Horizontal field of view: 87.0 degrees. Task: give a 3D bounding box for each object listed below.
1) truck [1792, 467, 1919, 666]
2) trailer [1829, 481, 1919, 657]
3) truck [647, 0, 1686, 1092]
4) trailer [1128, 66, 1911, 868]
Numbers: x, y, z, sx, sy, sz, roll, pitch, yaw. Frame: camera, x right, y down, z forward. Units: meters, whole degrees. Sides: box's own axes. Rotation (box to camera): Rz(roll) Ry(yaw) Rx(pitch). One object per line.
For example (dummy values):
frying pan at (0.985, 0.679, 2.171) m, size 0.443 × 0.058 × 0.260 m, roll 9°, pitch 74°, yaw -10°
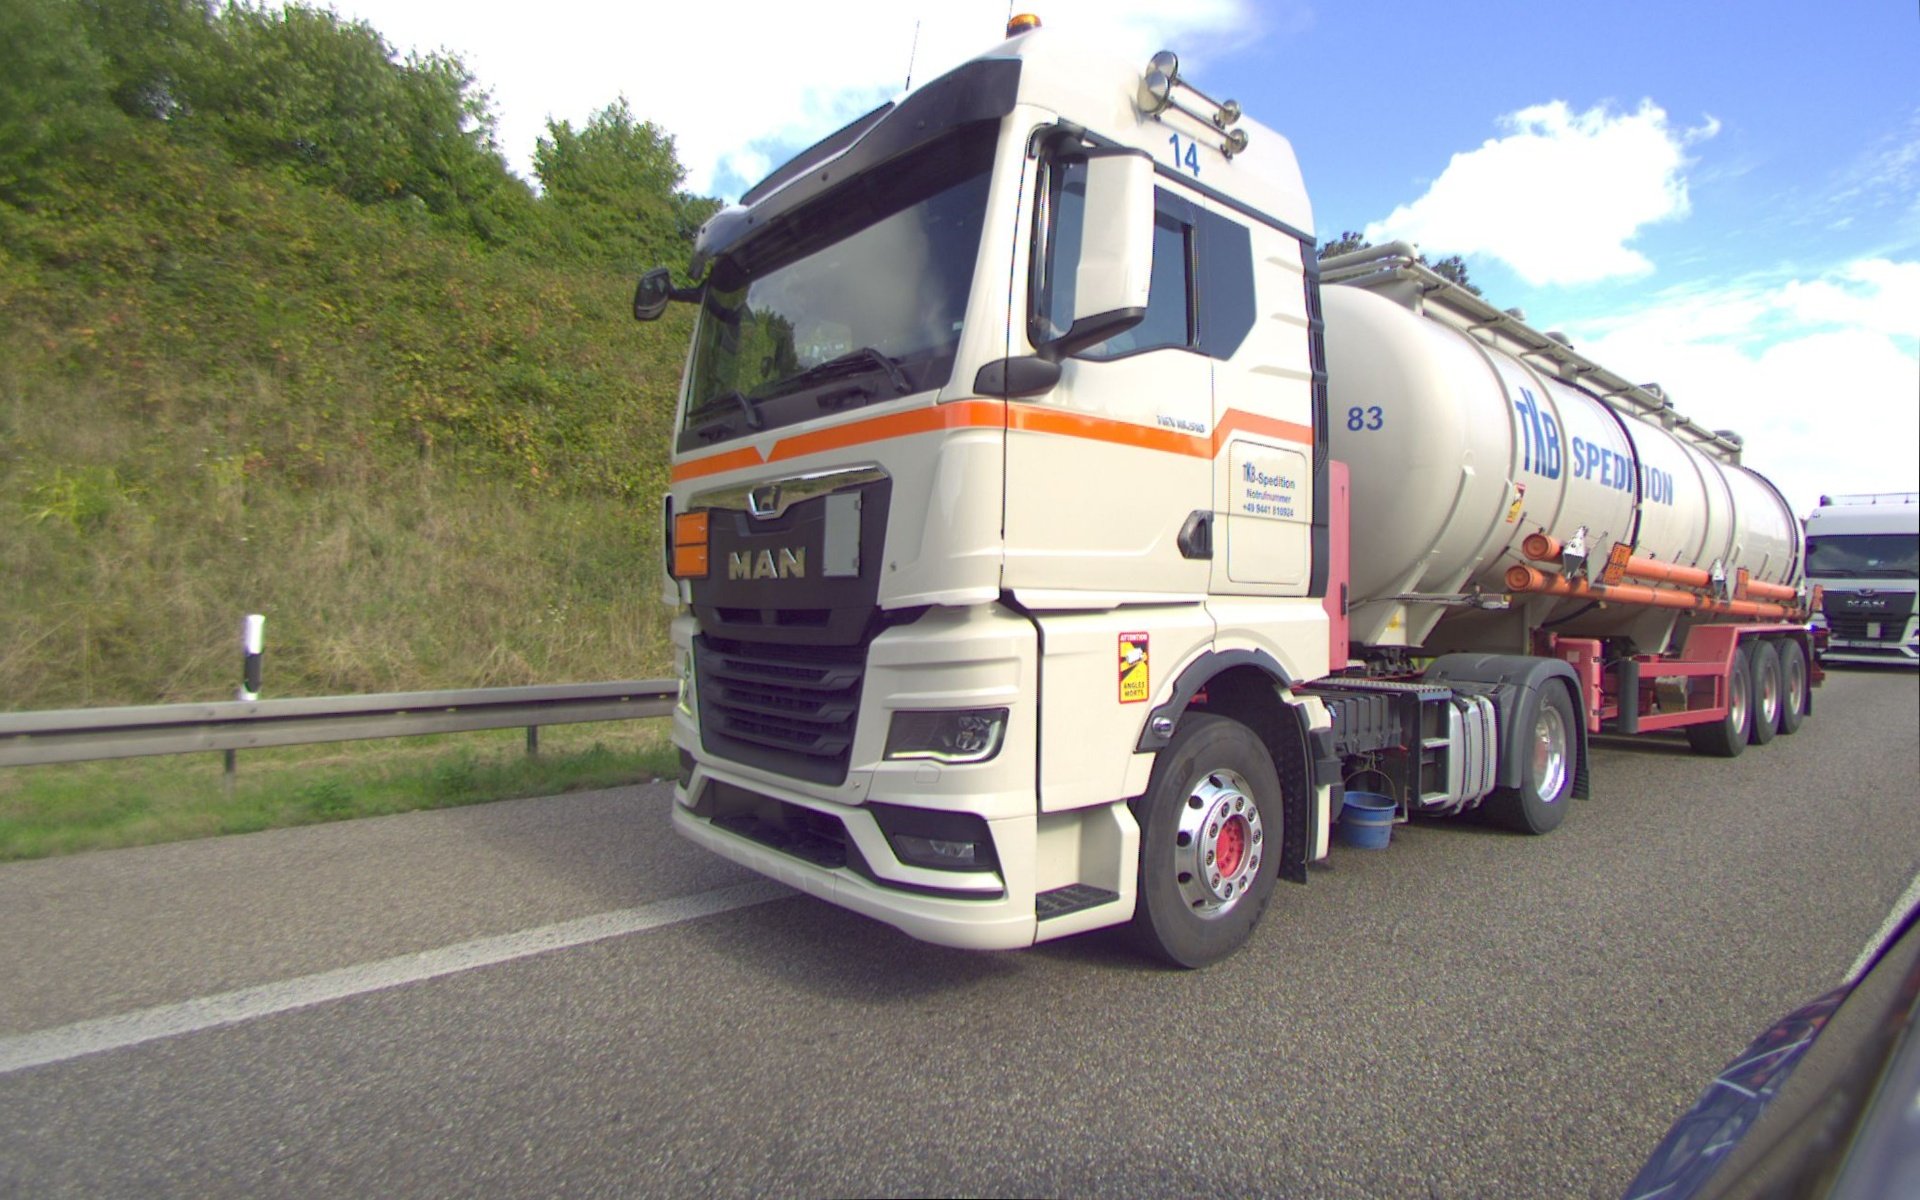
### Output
truck at (21.549, -0.710, 23.182) m, size 5.605 × 4.122 × 2.840 m, roll 0°, pitch 1°, yaw -40°
trailer at (27.318, -0.744, 27.983) m, size 13.133 × 4.122 × 2.832 m, roll 0°, pitch 1°, yaw -40°
truck at (1.568, -0.697, 5.783) m, size 5.798 × 4.094 × 2.809 m, roll 0°, pitch 1°, yaw -40°
trailer at (6.331, -0.714, 9.752) m, size 10.982 × 4.077 × 2.804 m, roll 0°, pitch 1°, yaw -40°
